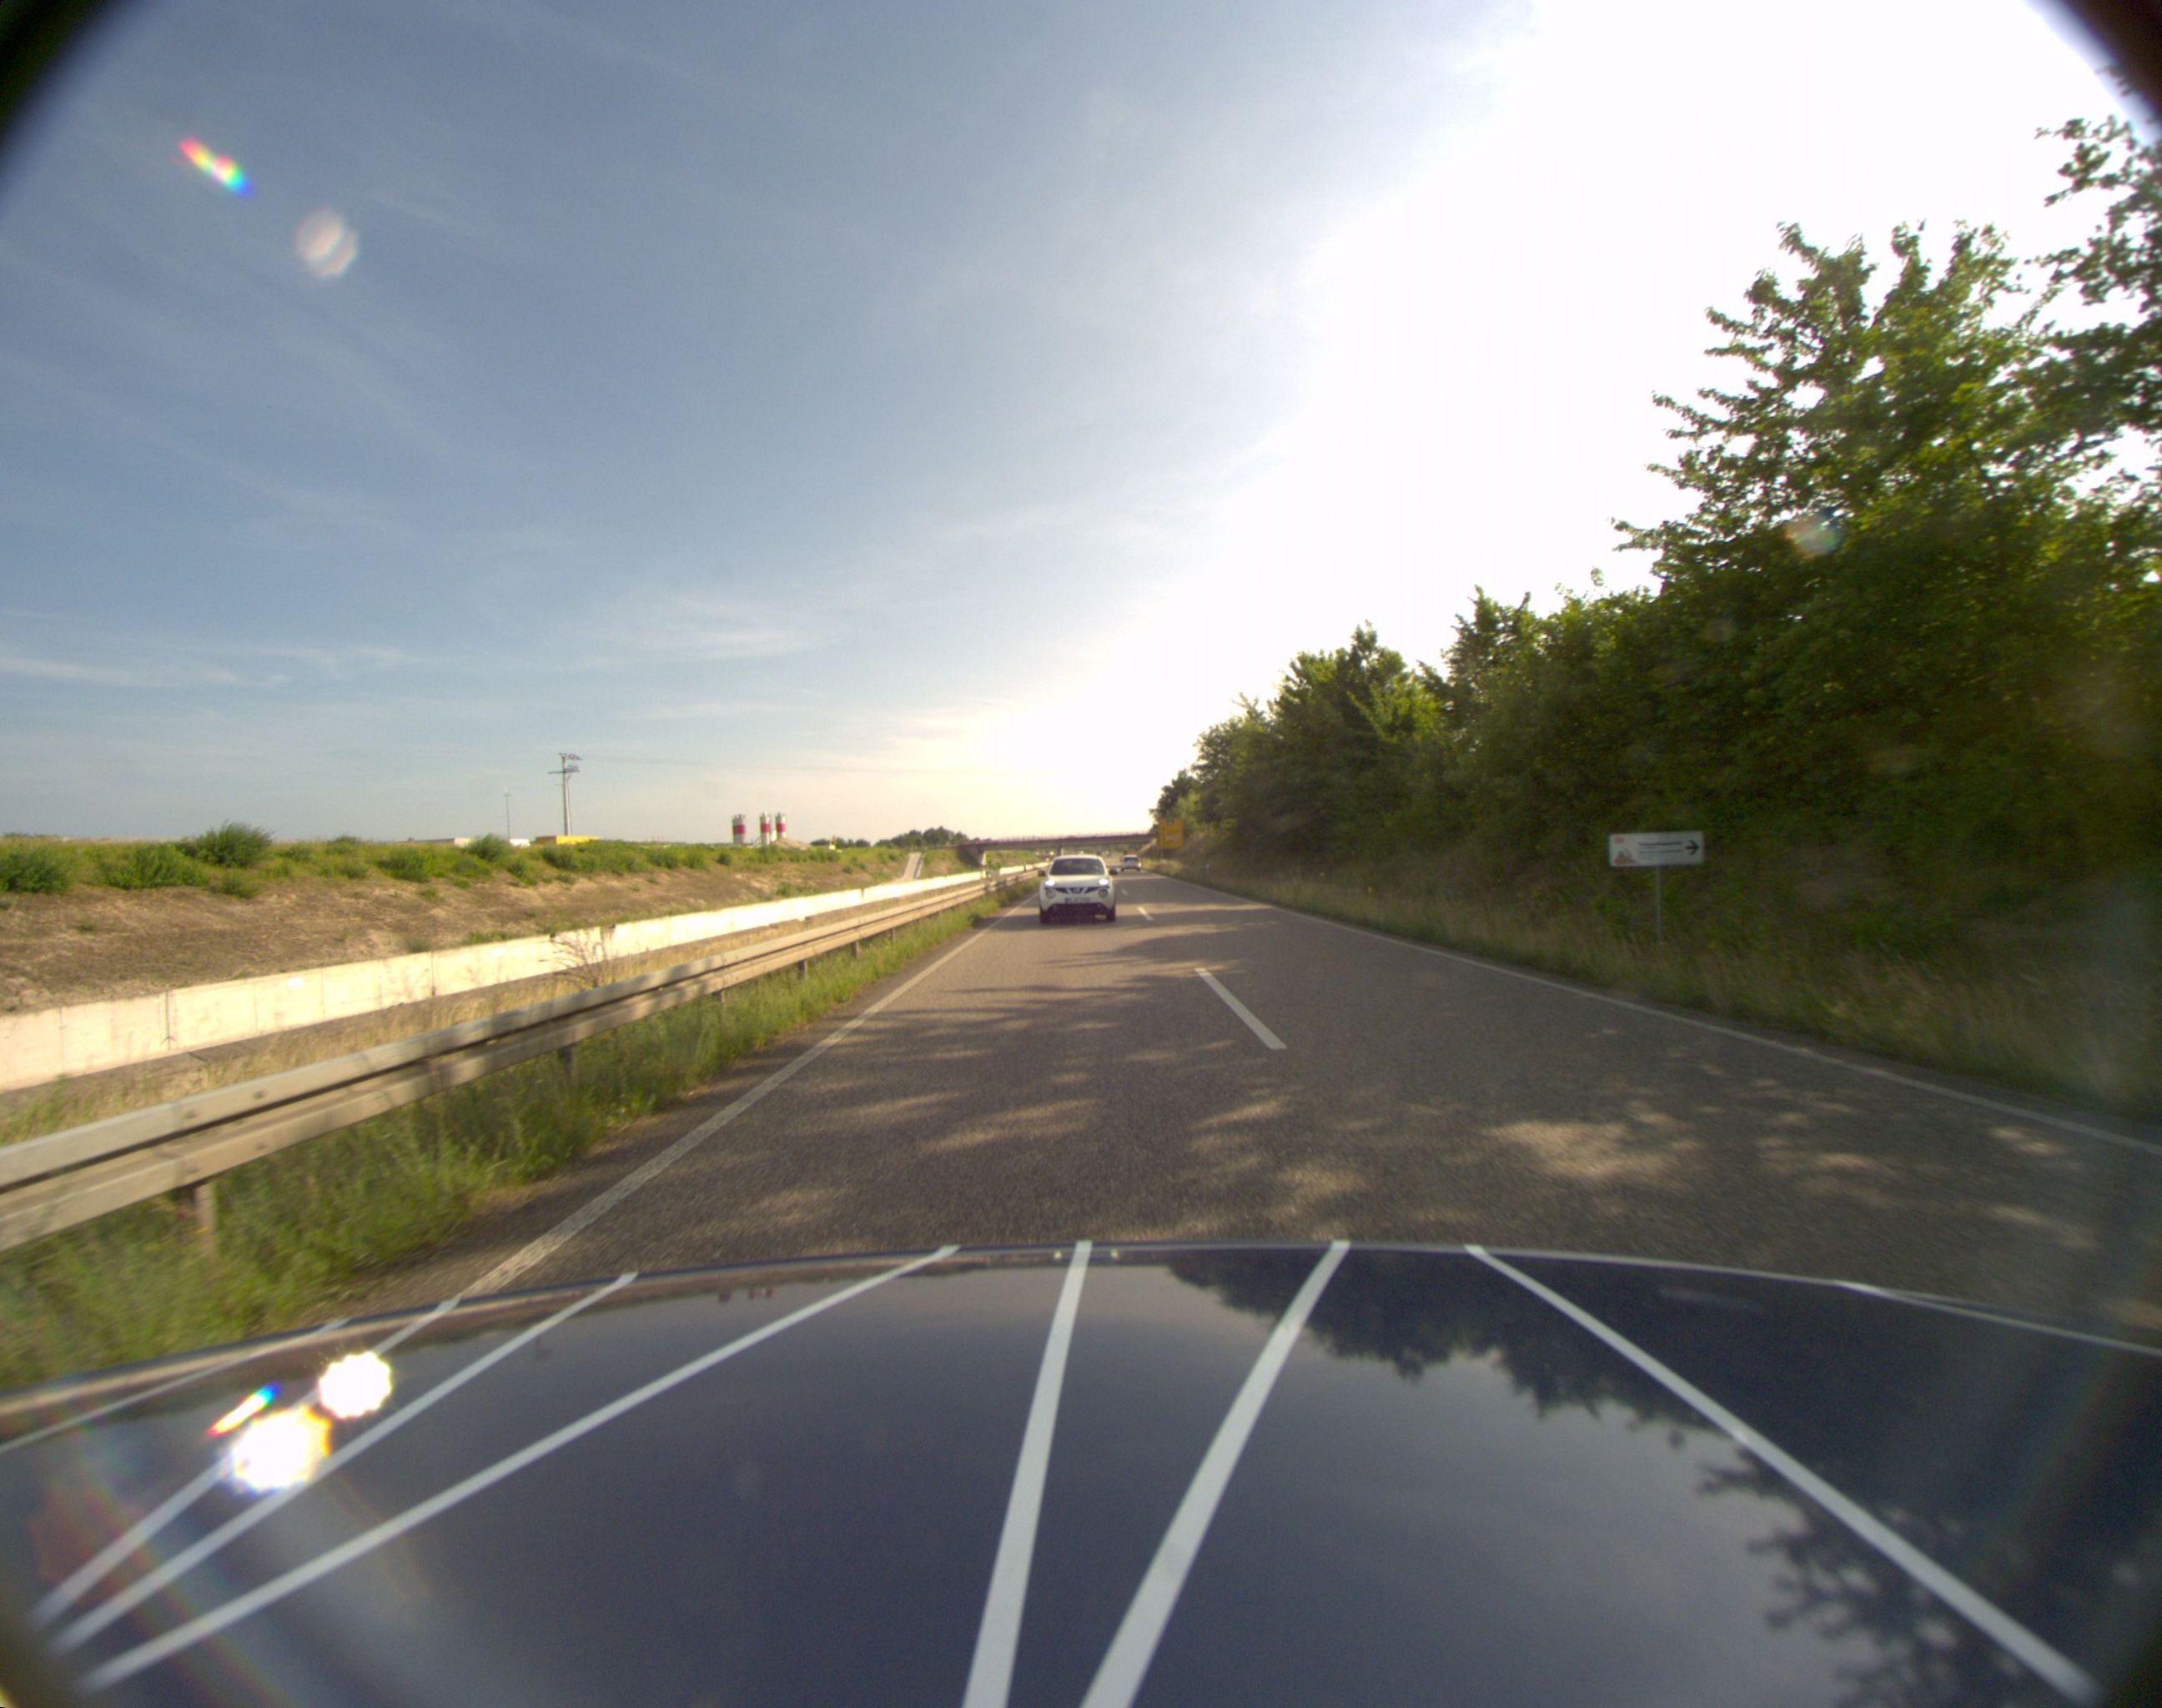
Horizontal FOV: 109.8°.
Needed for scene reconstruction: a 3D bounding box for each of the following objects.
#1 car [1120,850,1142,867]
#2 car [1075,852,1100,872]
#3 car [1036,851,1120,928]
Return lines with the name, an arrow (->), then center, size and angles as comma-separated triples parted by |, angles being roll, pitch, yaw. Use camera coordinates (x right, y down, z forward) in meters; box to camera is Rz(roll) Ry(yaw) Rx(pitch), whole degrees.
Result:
car -> 4.877, 0.468, 74.329 | 1.749, 1.555, 4.365 | -2, 0, 0
car -> 0.527, 0.626, 61.313 | 1.908, 1.512, 4.465 | -2, 0, 0
car -> -0.096, 0.777, 19.219 | 1.789, 1.593, 4.570 | -3, 1, -1
